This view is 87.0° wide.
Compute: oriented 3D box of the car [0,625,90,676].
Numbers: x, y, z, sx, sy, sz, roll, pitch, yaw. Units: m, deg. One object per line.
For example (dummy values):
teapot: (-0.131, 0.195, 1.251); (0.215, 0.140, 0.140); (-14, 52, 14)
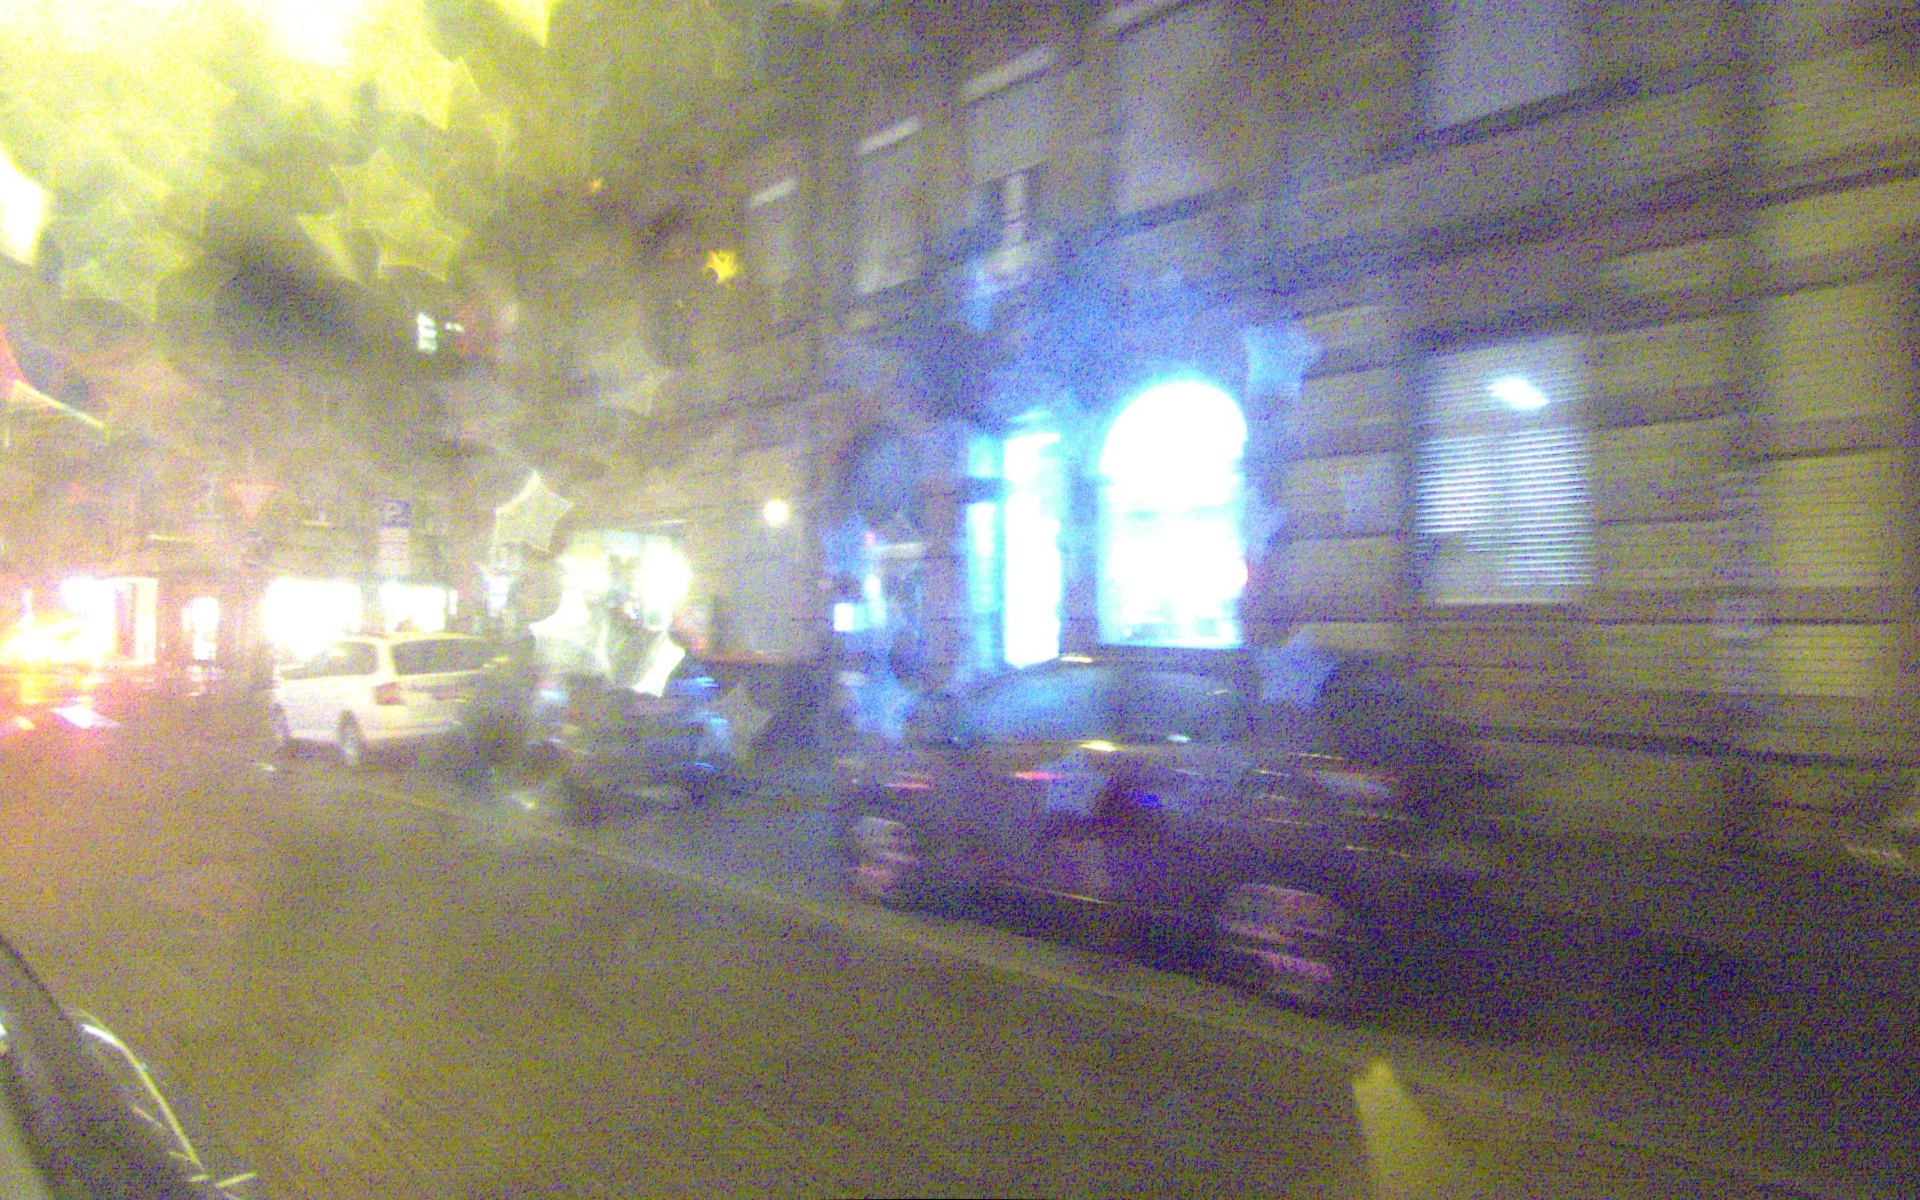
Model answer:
car: (-28.066, 1.487, 30.489); (4.054, 1.438, 1.552); (0, -3, 31)

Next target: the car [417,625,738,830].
car: (-3.468, 0.991, 9.056); (2.786, 1.521, 1.570); (-2, -2, 41)

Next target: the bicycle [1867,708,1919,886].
bicycle: (6.151, 1.141, 5.347); (2.013, 0.965, 0.444); (1, -2, 41)

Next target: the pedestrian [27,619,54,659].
pedestrian: (-41.375, 1.731, 45.541); (0.815, 1.784, 0.601); (1, -2, -37)

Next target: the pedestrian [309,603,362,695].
pedestrian: (-13.180, 1.038, 21.345); (0.786, 1.872, 0.948); (4, -4, -36)

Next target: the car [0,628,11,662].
car: (-44.484, 2.008, 45.734); (5.028, 1.490, 1.827); (-1, -2, 41)

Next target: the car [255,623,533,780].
car: (-6.735, 1.054, 11.865); (4.022, 1.474, 1.570); (-2, 0, 41)

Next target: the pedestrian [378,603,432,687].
pedestrian: (-12.124, 0.962, 22.097); (0.794, 1.779, 1.017); (0, -1, -43)

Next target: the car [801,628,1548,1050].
car: (0.907, 0.885, 5.289); (3.501, 1.460, 1.570); (-2, -2, 41)

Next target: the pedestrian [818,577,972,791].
pedestrian: (-0.608, 0.753, 9.602); (0.977, 1.879, 1.021); (0, -2, 41)
